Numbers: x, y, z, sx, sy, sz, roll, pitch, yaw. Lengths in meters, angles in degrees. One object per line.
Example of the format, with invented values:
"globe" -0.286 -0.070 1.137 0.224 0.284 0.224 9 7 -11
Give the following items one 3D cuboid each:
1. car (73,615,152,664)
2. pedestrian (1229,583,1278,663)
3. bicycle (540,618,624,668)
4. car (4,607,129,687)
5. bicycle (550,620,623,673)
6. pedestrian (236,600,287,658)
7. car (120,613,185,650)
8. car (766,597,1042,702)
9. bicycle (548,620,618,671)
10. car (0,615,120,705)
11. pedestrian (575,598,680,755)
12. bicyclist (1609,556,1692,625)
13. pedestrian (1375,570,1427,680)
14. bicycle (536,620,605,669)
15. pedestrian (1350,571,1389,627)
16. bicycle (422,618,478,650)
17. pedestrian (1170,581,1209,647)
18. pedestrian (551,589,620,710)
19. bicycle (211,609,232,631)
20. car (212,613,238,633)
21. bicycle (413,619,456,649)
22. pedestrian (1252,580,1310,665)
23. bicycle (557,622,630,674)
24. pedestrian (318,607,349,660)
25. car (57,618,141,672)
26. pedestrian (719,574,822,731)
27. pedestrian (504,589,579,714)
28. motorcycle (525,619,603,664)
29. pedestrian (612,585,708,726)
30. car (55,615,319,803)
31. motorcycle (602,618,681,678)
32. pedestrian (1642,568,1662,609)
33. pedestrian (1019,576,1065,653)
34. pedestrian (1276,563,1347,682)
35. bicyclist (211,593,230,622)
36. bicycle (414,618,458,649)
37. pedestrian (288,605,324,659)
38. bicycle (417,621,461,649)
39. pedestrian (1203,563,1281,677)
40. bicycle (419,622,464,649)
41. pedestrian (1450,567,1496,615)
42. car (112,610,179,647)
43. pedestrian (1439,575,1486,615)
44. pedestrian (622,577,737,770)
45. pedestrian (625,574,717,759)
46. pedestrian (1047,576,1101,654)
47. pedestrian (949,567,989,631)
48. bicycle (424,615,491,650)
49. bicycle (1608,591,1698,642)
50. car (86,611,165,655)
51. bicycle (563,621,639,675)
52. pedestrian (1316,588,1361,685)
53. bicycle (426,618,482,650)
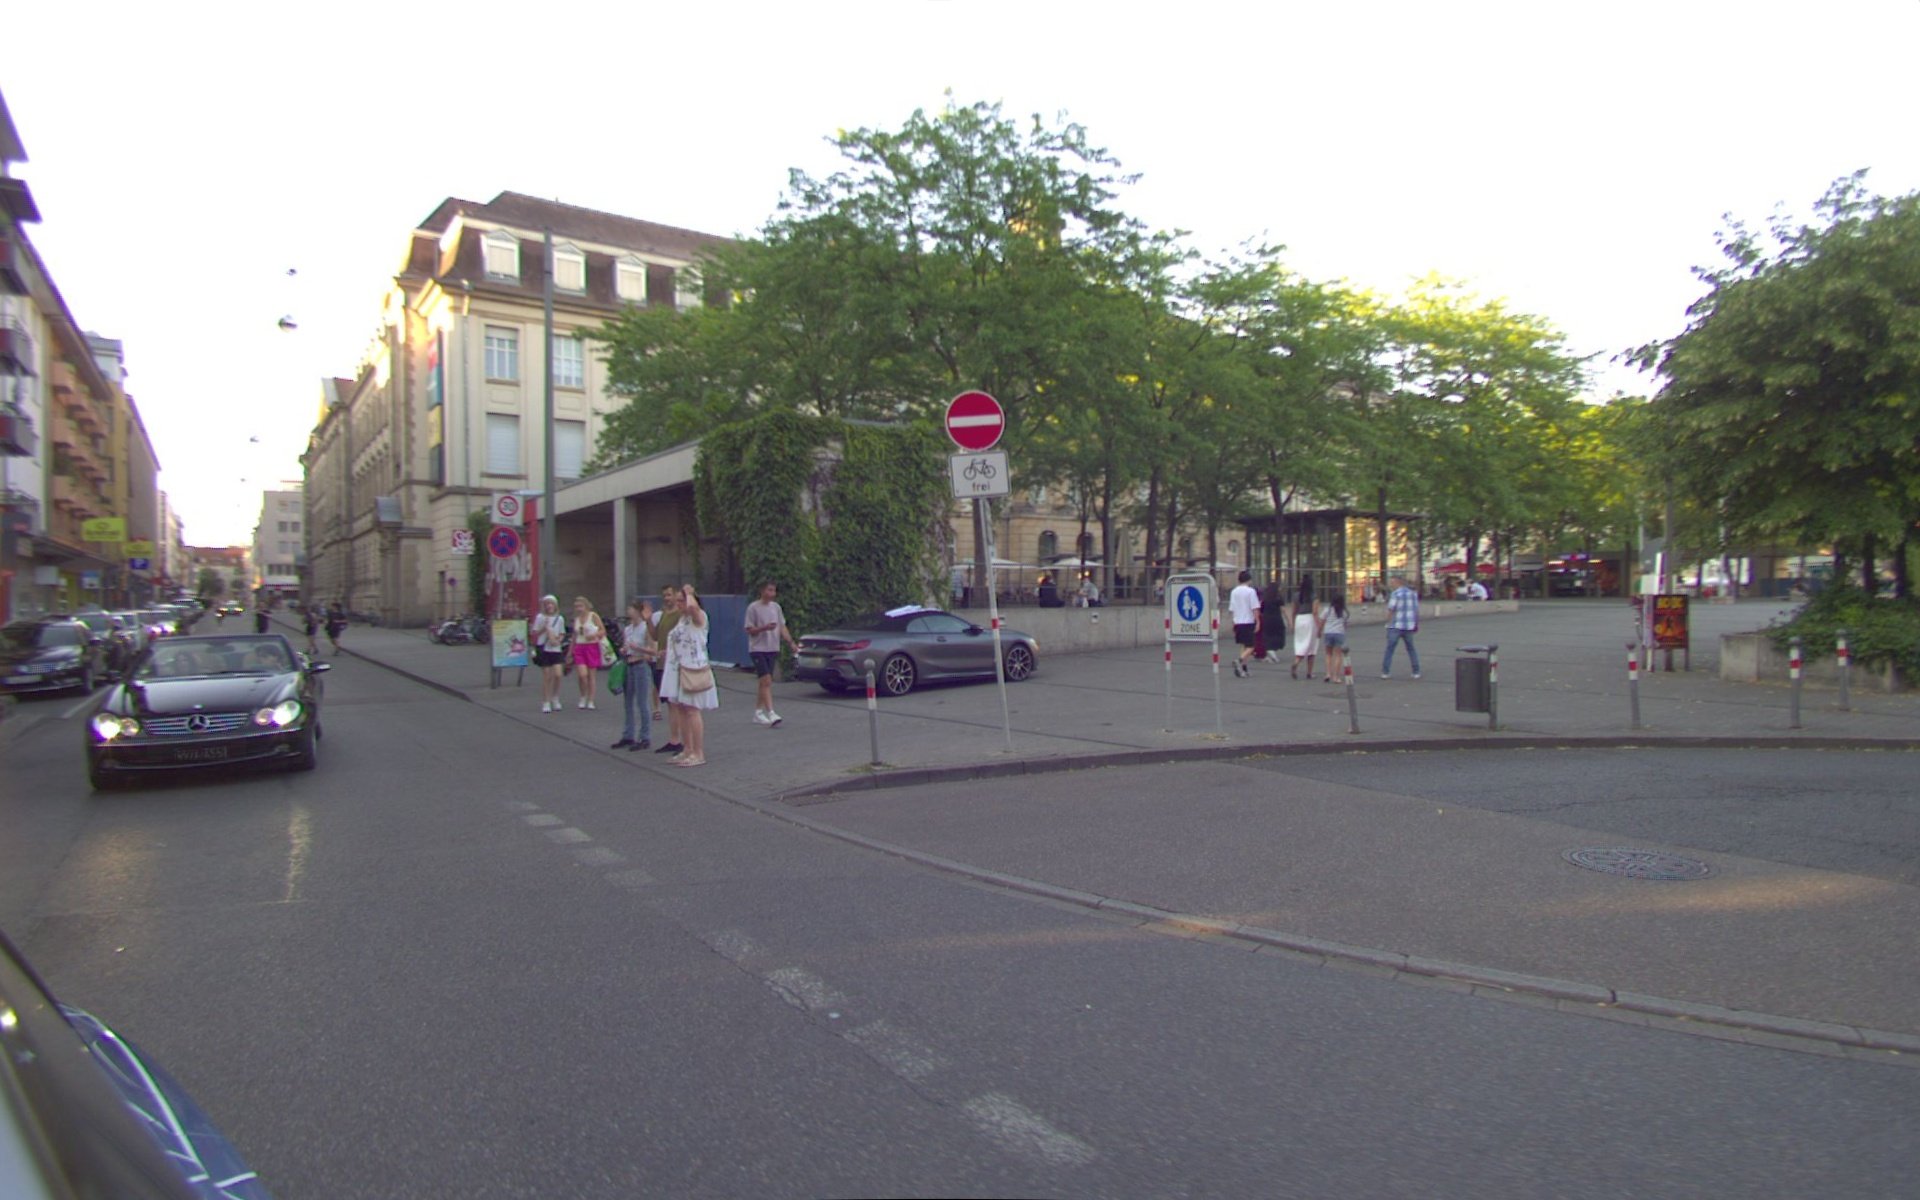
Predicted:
"car" -28.836 1.289 34.531 1.740 1.488 3.957 -2 1 -36
"pedestrian" 5.856 0.445 20.232 0.583 1.554 0.682 -2 1 -33
"bicycle" -9.360 1.048 25.083 1.842 1.095 0.552 -2 1 -35
"car" -21.802 1.071 24.849 1.854 1.712 4.147 -2 1 -36
"bicycle" -8.552 1.047 23.209 1.474 1.120 0.411 -2 1 -40
"pedestrian" -22.866 0.950 33.133 0.941 1.841 0.999 -2 1 28
"car" -35.542 1.340 44.645 1.867 1.488 4.312 -2 1 -34
"car" -0.867 0.750 17.406 4.382 1.441 2.109 -3 1 -43
"bicycle" -8.846 1.058 23.771 1.474 1.096 0.411 -2 1 -40
"car" -18.301 1.120 20.217 1.849 1.563 4.643 -2 1 -34
"pedestrian" -3.720 0.821 11.362 0.875 1.681 0.711 0 0 17
"bicyclist" 15.842 -0.210 23.232 0.740 1.521 1.385 -1 0 -33
"pedestrian" 7.257 0.399 16.662 0.712 1.759 0.682 -2 0 24
"bicycle" -9.395 1.057 24.414 1.472 1.096 0.437 -2 1 -30
"pedestrian" 13.059 -0.034 32.266 0.691 1.739 0.923 -1 0 -38
"bicycle" -19.063 1.277 37.838 1.814 1.091 0.355 -2 1 -31
"pedestrian" 6.197 0.377 27.330 0.613 1.739 0.805 -1 0 -38
"pedestrian" -5.846 0.743 15.810 0.799 1.807 0.738 -2 1 -34
"bicycle" -52.914 1.408 72.514 1.021 1.533 2.830 -1 0 -32
"car" -79.939 2.466 110.148 1.966 2.029 4.011 -1 0 -32
"bicycle" -20.839 1.347 40.135 1.479 1.084 0.313 -3 1 -45
"pedestrian" 6.215 0.433 19.616 0.799 1.594 0.720 -2 1 43
"bicycle" -8.288 1.075 22.908 1.474 1.077 0.443 -2 1 -40
"pedestrian" -20.901 1.104 33.774 0.819 1.739 0.923 -1 0 -29
"car" -25.631 1.282 30.217 1.725 1.414 3.975 -2 1 -38
"pedestrian" -2.431 0.639 12.970 0.969 1.897 0.892 -2 1 -34
"pedestrian" -6.362 0.754 15.381 0.838 1.807 0.871 -2 1 -34
"motorcycle" -10.261 1.071 26.260 1.800 1.077 0.534 -2 0 -8
"pedestrian" -4.100 0.720 13.822 0.969 1.807 0.892 -2 1 -34
"car" -7.826 0.911 10.541 1.780 1.418 4.629 0 0 -34
"motorcycle" -6.692 1.000 21.357 0.533 1.135 1.815 -2 1 22
"pedestrian" 33.222 -0.558 48.598 0.729 1.963 0.794 -1 0 38
"pedestrian" 1.940 0.326 23.950 0.749 1.795 0.800 -1 0 -35
"pedestrian" 5.814 0.355 16.741 0.702 1.889 0.784 -2 1 -28
"bicyclist" -52.854 0.517 72.321 1.029 2.029 1.185 -1 0 -34
"bicycle" -20.620 1.318 39.868 1.479 1.149 0.313 -3 1 -45
"pedestrian" -21.890 1.054 33.868 0.906 1.739 0.704 -1 0 -41
"bicycle" -20.383 1.360 39.644 1.479 0.986 0.313 -3 1 -45
"pedestrian" 4.835 0.326 17.336 0.983 1.867 0.879 -2 1 38
"bicycle" -20.180 1.384 39.406 1.479 0.963 0.313 -3 1 -45
"pedestrian" 18.201 -0.319 35.940 0.697 1.660 1.270 -1 0 -39
"car" -39.362 1.317 48.982 1.966 1.628 4.379 -2 1 -32
"pedestrian" 17.615 -0.167 35.497 0.726 1.390 1.269 -1 0 -40
"pedestrian" -2.756 0.699 10.007 0.871 1.816 0.714 -2 0 2
"pedestrian" -3.140 0.679 10.960 0.702 1.891 0.855 -2 1 -30
"pedestrian" 2.751 0.360 24.523 0.691 1.833 1.125 -1 0 -38
"pedestrian" 0.275 -0.029 32.821 0.819 2.029 1.069 -1 1 -33
"bicycle" -18.470 1.178 37.255 2.145 1.164 0.447 -2 1 -31
"bicycle" 16.047 0.365 23.417 2.290 1.110 0.954 -1 0 -35
"car" -31.376 1.201 38.164 1.837 1.488 4.406 -2 1 -34
"bicycle" -7.989 1.057 22.549 1.474 1.096 0.549 -2 1 -40
"pedestrian" 6.075 0.574 16.246 0.600 1.497 0.710 -2 1 24
"bicycle" -18.737 1.250 37.515 1.814 1.091 0.355 -2 1 -31
